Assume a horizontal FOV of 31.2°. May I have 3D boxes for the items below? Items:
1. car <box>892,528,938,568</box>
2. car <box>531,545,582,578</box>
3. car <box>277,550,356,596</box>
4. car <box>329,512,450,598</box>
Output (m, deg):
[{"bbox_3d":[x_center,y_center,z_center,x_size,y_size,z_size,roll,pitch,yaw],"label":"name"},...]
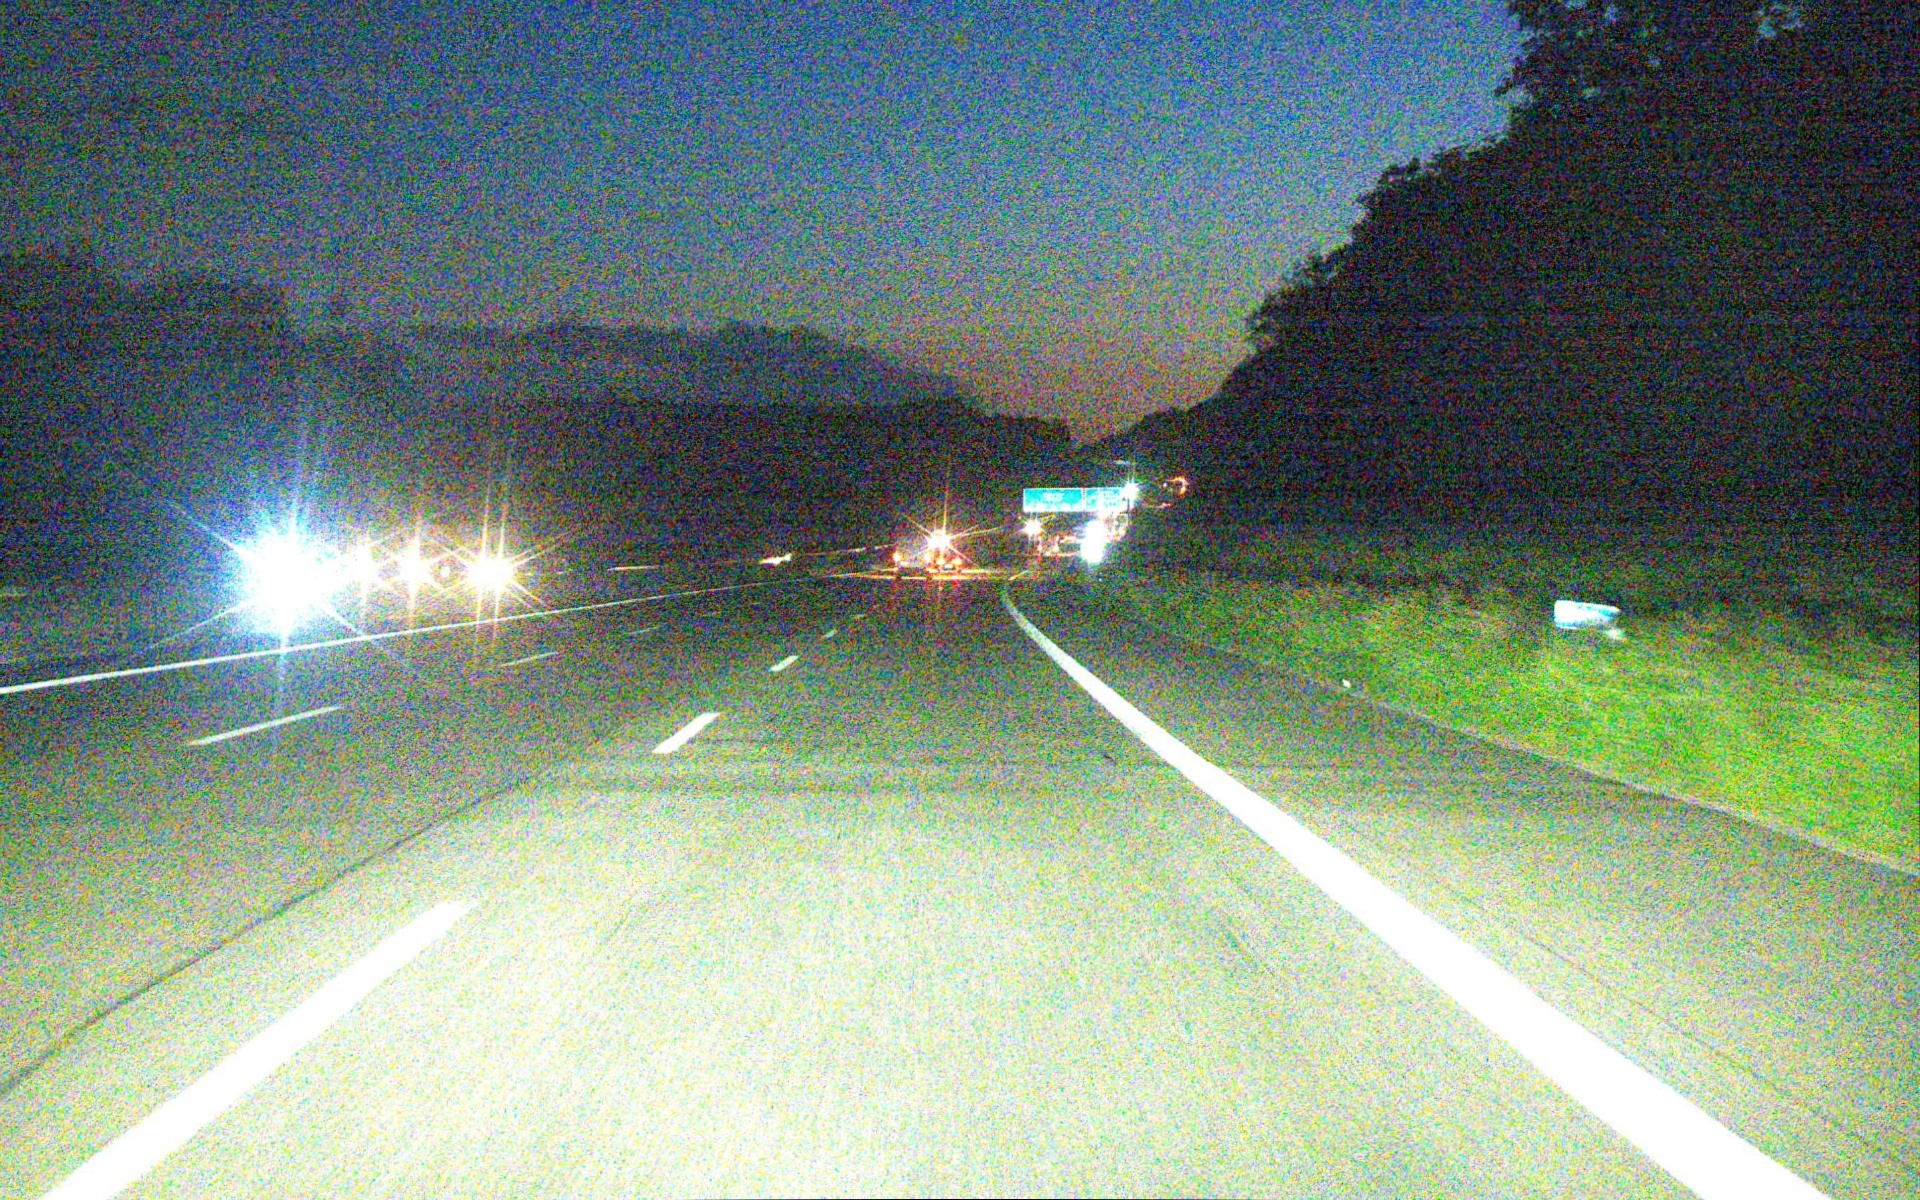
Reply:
[{"bbox_3d":[-2.594,-3.005,198.728,2.511,2.306,4.970,0,1,1],"label":"car"},{"bbox_3d":[-18.874,-1.813,160.989,1.861,1.492,4.705,0,1,0],"label":"car"},{"bbox_3d":[-23.330,-1.000,124.757,2.051,1.593,5.078,0,1,-2],"label":"car"},{"bbox_3d":[-19.503,-1.565,117.901,2.953,2.847,7.718,0,1,-1],"label":"car"}]
